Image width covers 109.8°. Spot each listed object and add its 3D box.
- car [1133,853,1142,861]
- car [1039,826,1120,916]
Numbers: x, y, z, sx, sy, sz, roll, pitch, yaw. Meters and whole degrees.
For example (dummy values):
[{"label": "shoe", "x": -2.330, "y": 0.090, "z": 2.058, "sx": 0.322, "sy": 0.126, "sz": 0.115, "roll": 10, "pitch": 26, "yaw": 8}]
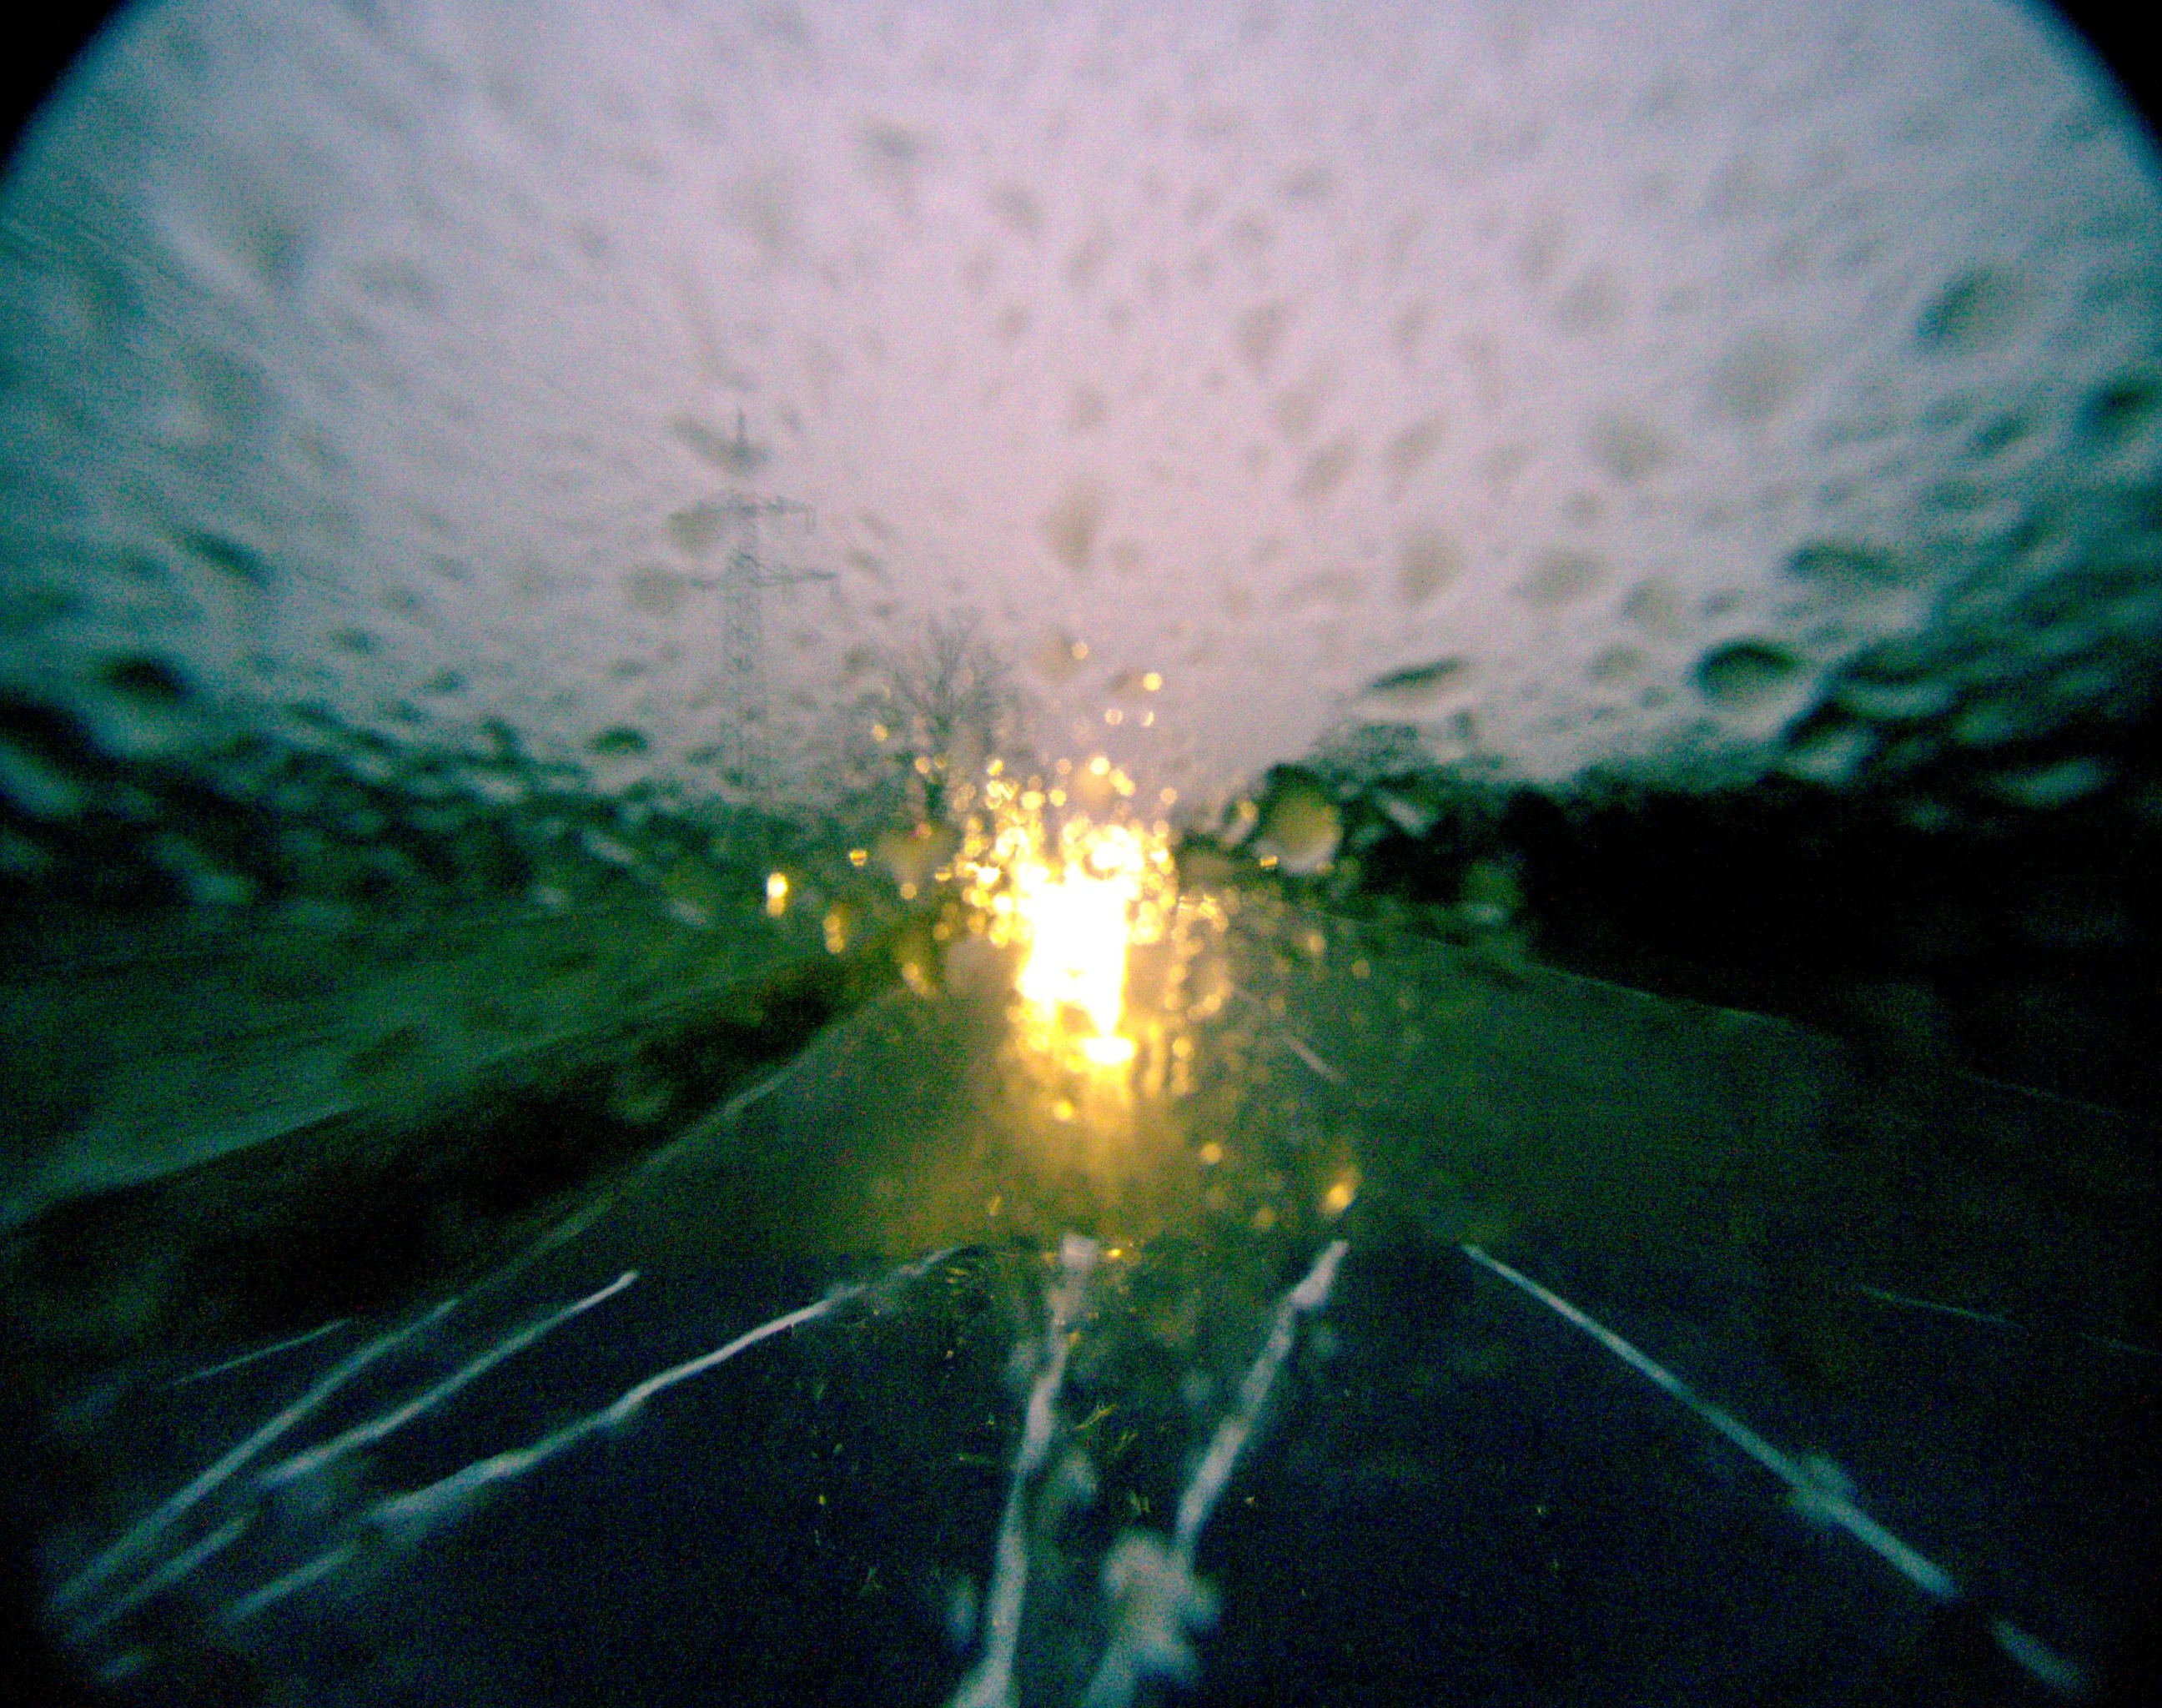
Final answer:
[{"label": "car", "x": 13.439, "y": 0.657, "z": 181.249, "sx": 1.912, "sy": 1.654, "sz": 3.928, "roll": -2, "pitch": 1, "yaw": 2}, {"label": "car", "x": 0.025, "y": 0.400, "z": 21.308, "sx": 1.953, "sy": 2.195, "sz": 4.534, "roll": -2, "pitch": 1, "yaw": 2}]
